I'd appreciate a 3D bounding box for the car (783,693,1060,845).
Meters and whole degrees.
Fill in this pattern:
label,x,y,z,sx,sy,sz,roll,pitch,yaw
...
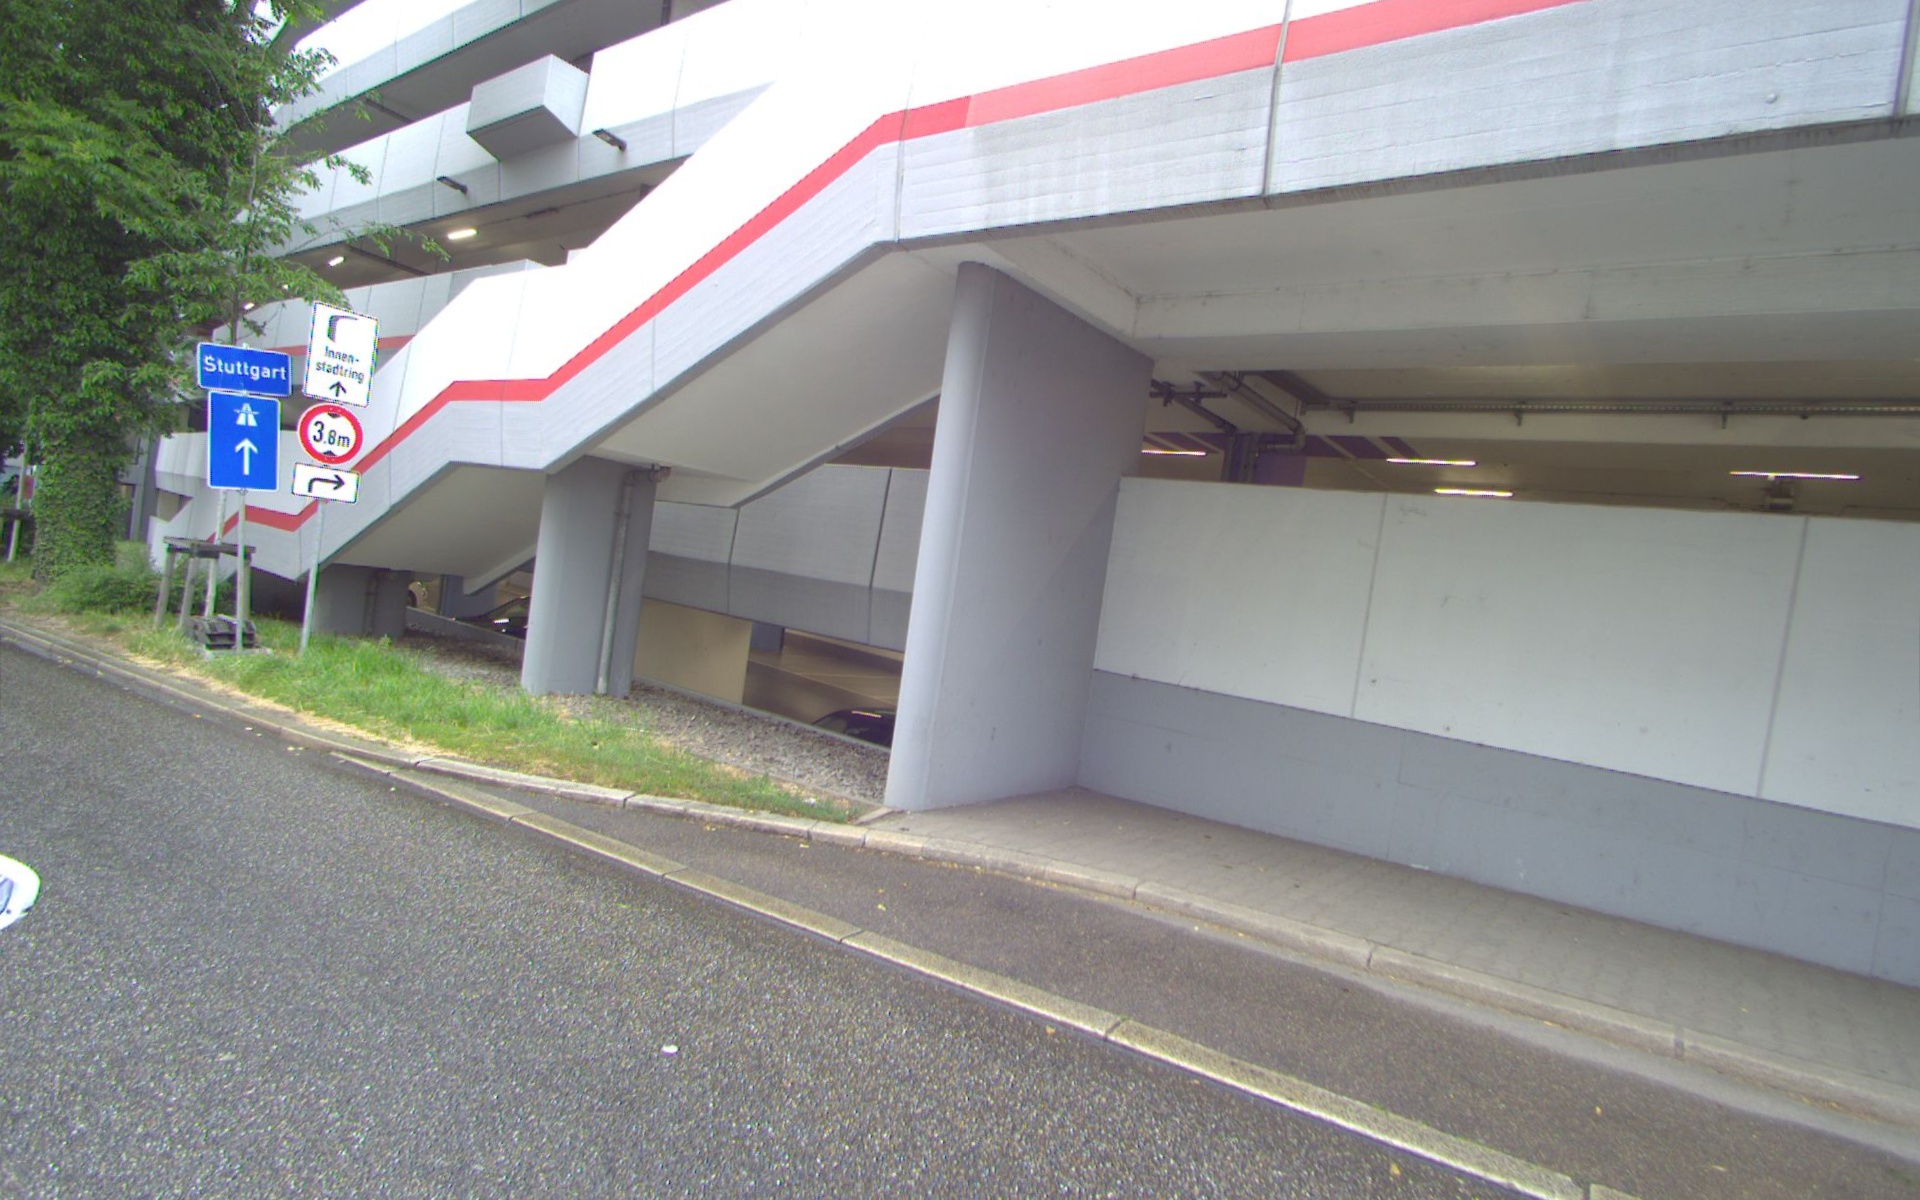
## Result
label,x,y,z,sx,sy,sz,roll,pitch,yaw
car,-0.423,2.360,14.745,1.810,1.559,3.931,11,2,37

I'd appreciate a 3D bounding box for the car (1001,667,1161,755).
label,x,y,z,sx,sy,sz,roll,pitch,yaw
car,2.942,2.605,23.721,1.810,1.559,3.988,11,2,37

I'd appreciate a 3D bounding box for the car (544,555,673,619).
label,x,y,z,sx,sy,sz,roll,pitch,yaw
car,-12.962,-0.455,37.207,1.792,1.804,3.979,7,0,44

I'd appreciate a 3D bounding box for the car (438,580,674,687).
label,x,y,z,sx,sy,sz,roll,pitch,yaw
car,-7.771,0.705,19.617,1.782,1.559,3.734,11,2,37

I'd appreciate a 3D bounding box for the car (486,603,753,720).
label,x,y,z,sx,sy,sz,roll,pitch,yaw
car,-5.831,1.134,17.620,1.810,1.643,3.988,7,-1,36
